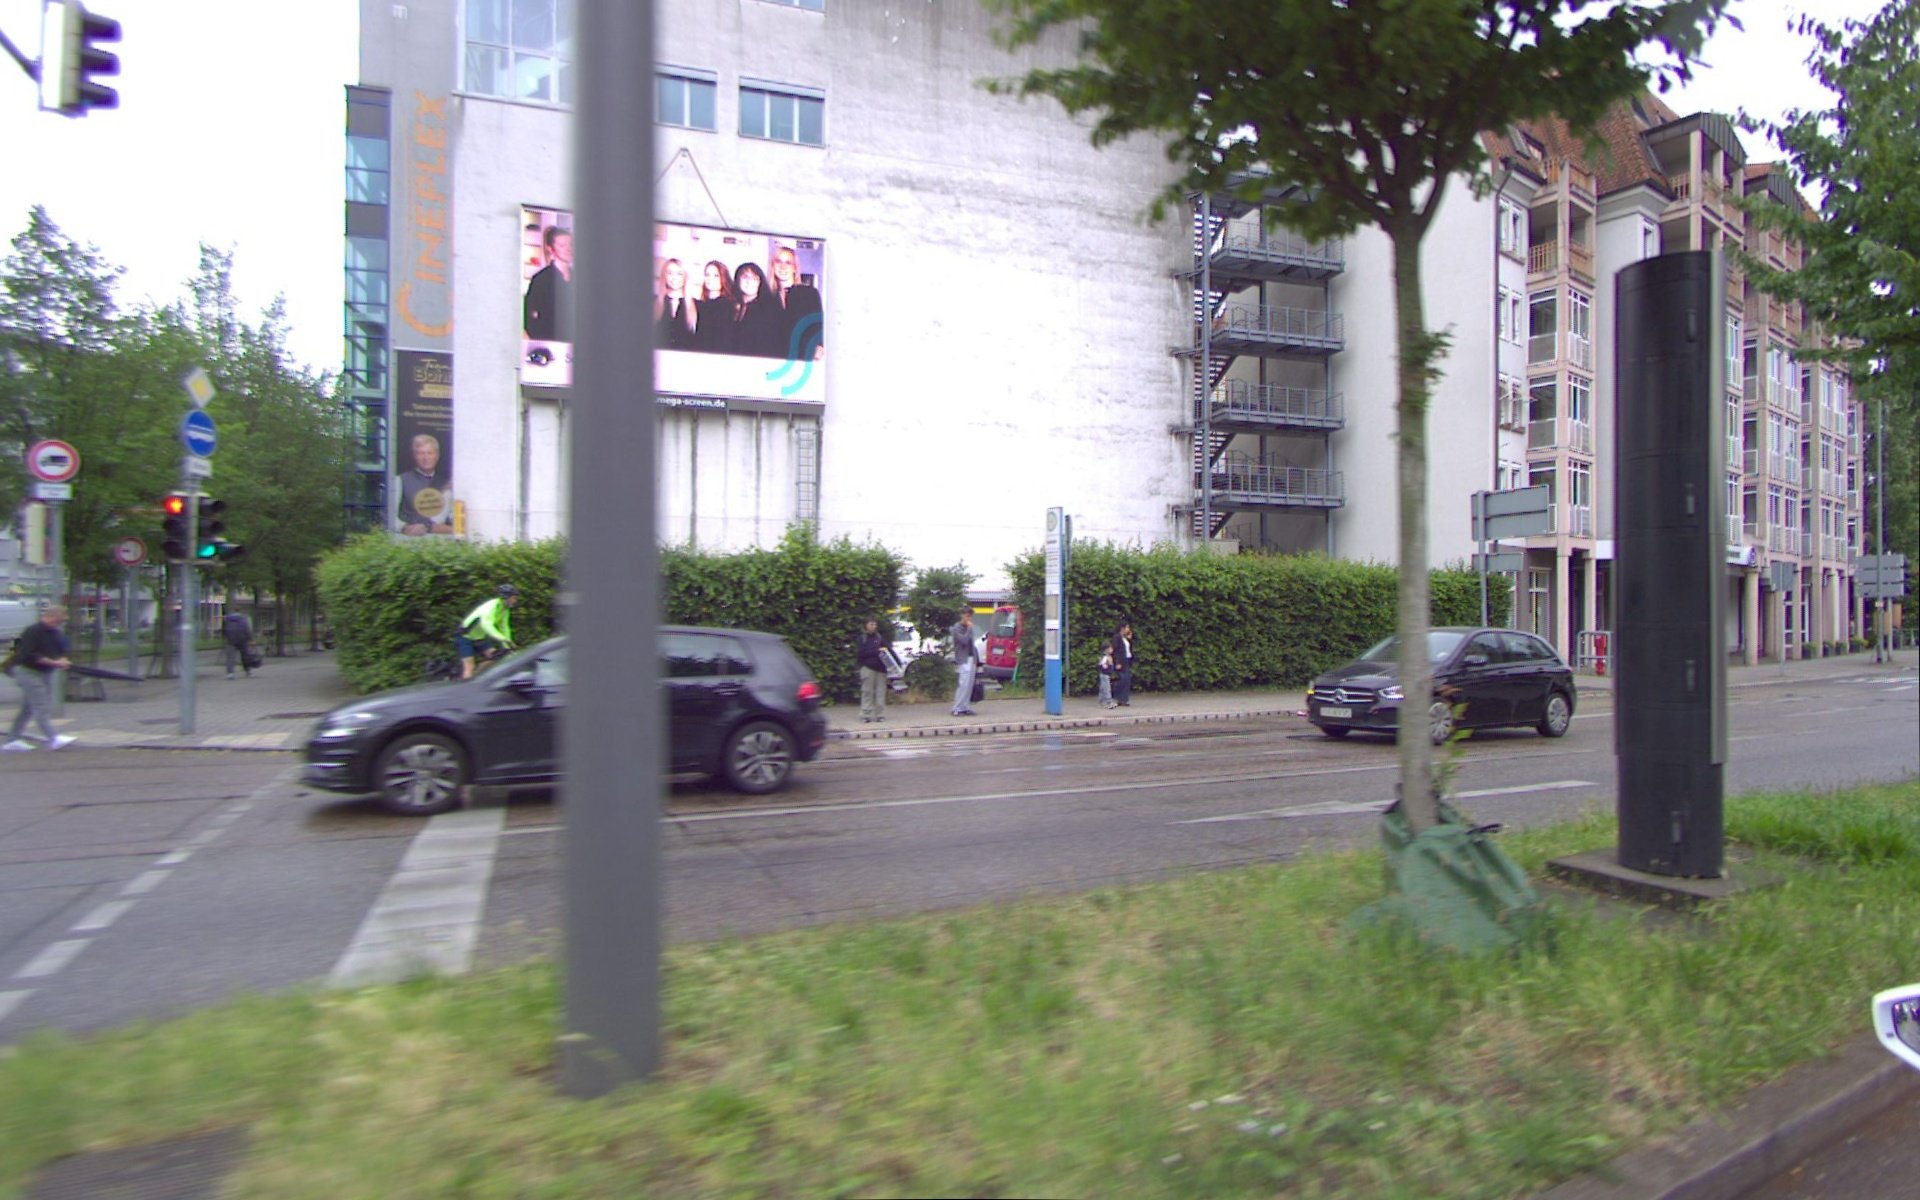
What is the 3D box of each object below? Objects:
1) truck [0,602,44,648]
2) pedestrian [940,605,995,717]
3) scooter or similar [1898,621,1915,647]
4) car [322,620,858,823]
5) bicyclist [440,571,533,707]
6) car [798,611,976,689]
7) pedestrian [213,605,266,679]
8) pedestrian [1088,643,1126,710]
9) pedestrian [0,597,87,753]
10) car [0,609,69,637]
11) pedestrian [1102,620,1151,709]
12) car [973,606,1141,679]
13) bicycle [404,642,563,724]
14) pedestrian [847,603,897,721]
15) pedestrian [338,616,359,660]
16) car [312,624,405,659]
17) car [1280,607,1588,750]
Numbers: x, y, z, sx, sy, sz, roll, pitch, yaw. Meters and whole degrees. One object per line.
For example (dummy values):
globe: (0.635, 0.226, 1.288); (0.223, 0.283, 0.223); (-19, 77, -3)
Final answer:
truck: (-47.098, 1.195, 48.450); (1.970, 2.183, 6.673); (0, -1, -21)
pedestrian: (0.126, 0.993, 16.449); (0.585, 1.787, 0.639); (4, -2, -28)
scooter or similar: (49.726, 1.780, 52.741); (1.559, 1.331, 0.477); (-2, 0, -41)
car: (-3.106, 0.966, 8.866); (4.044, 1.439, 1.752); (2, -3, -27)
bicyclist: (-6.854, 0.553, 14.569); (0.935, 1.915, 0.794); (0, -1, 2)
car: (-1.635, 1.097, 23.024); (3.794, 1.646, 1.586); (0, -1, -33)
pedestrian: (-17.713, 1.039, 24.705); (0.778, 1.804, 0.653); (0, -2, 9)
pedestrian: (2.641, 1.359, 18.025); (0.496, 1.166, 0.466); (0, -1, -33)
pedestrian: (-10.923, 0.886, 11.941); (0.585, 1.787, 0.644); (4, -2, -29)
car: (-68.637, 1.709, 74.547); (1.882, 1.773, 3.804); (4, 1, -8)
pedestrian: (3.040, 1.159, 18.395); (0.559, 1.580, 0.710); (0, -1, -33)
car: (2.212, 0.942, 22.691); (3.558, 1.530, 1.587); (1, -2, -31)
bicycle: (-6.898, 1.192, 14.588); (2.017, 1.125, 0.653); (0, -1, 3)
pedestrian: (-1.367, 0.952, 15.599); (0.623, 1.788, 0.524); (1, -1, -28)
pedestrian: (-22.553, 1.388, 37.028); (0.520, 1.621, 0.556); (1, -1, -19)
car: (-32.127, 2.189, 53.749); (1.908, 1.684, 3.873); (4, 0, 21)
car: (6.740, 1.043, 14.216); (4.206, 1.759, 1.820); (1, -3, -29)
